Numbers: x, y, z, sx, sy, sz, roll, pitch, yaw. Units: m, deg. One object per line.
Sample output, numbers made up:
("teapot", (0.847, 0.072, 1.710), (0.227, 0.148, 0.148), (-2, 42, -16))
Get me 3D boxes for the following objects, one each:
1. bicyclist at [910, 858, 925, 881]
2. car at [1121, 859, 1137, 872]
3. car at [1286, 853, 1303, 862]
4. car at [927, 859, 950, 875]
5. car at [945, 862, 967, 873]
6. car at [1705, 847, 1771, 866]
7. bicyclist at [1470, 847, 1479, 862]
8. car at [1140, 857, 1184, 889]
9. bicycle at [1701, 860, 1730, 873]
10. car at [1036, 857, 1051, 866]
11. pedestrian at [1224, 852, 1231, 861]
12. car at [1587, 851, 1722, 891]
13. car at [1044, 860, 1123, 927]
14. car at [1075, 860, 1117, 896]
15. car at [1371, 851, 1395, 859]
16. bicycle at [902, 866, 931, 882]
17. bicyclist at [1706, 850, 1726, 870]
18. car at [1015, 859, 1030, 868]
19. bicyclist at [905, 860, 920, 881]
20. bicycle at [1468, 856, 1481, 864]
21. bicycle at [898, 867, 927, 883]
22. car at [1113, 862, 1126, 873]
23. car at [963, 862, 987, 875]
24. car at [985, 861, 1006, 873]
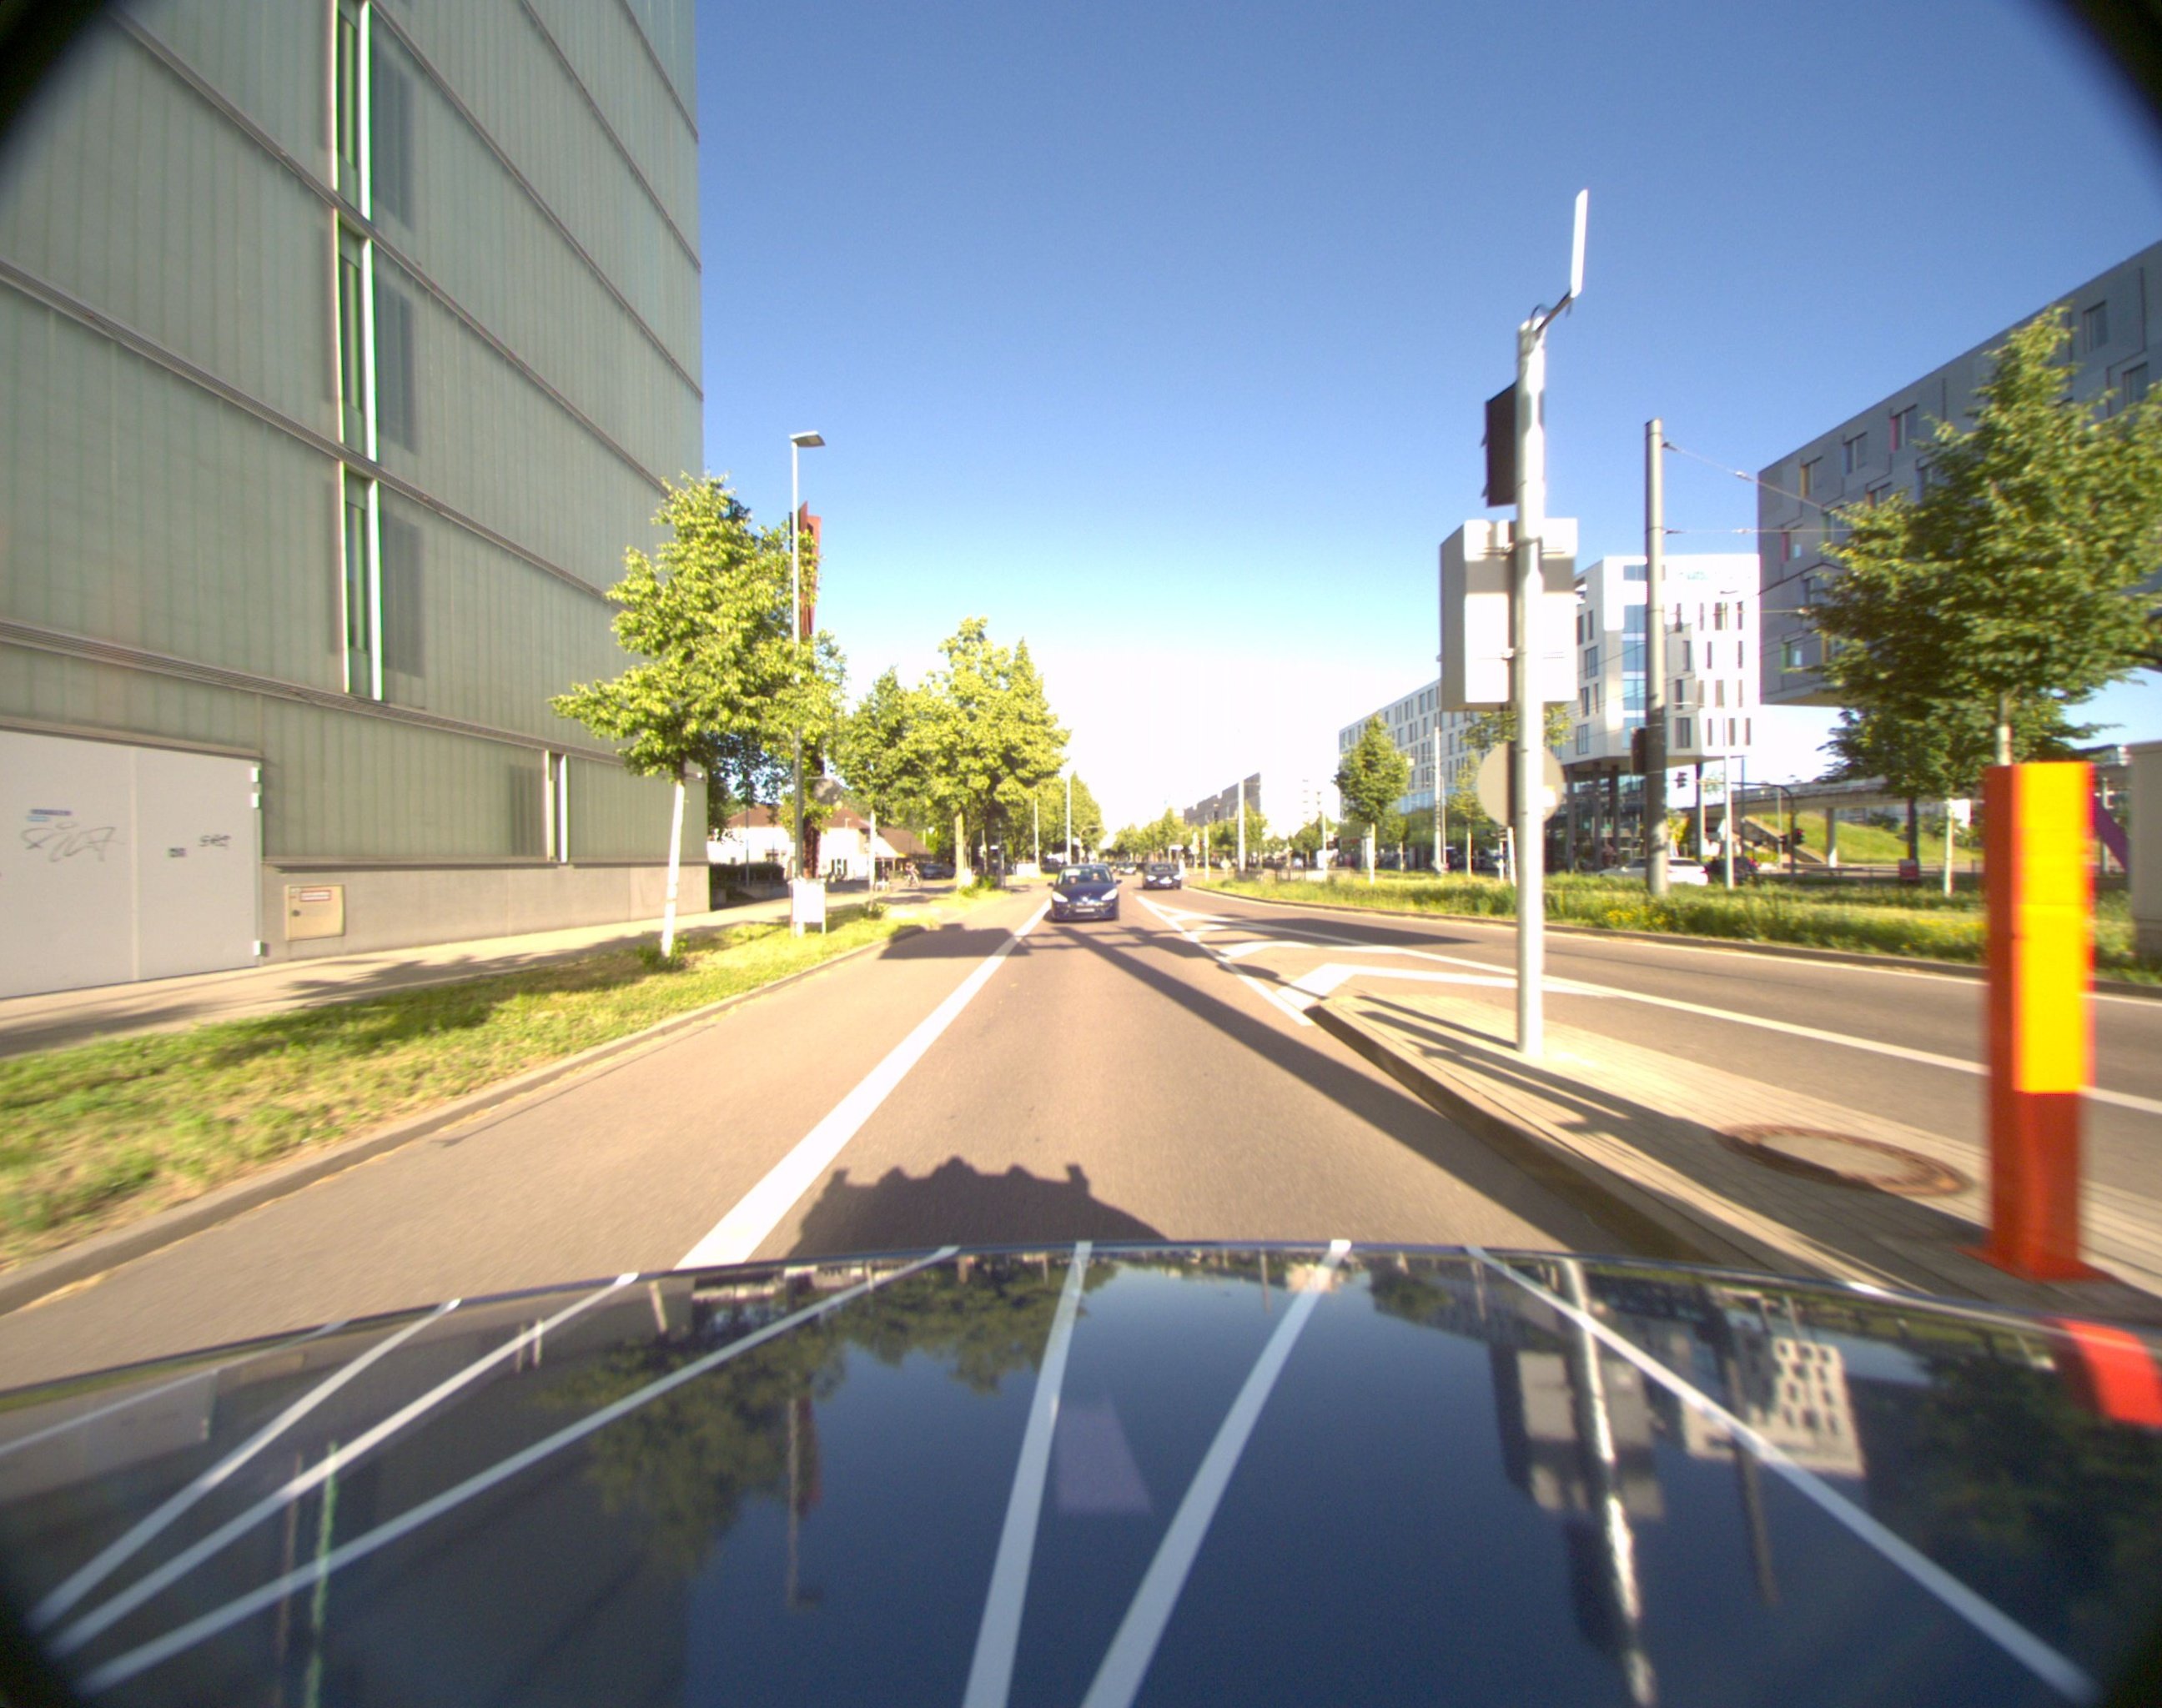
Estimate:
("bicyclist", (-12.640, 1.200, 58.711), (0.876, 1.727, 0.833), (-1, 0, 13))
("car", (5.739, 1.306, 90.971), (1.675, 1.418, 4.006), (-3, 0, 2))
("car", (37.740, 0.628, 134.244), (1.803, 1.518, 4.343), (-3, 0, 0))
("car", (-19.120, 1.688, 102.149), (1.898, 2.025, 5.071), (0, 0, 3))
("car", (-18.416, 1.928, 111.984), (1.898, 1.477, 4.916), (-2, 0, 6))
("car", (57.198, 0.244, 66.198), (3.996, 1.556, 2.001), (-1, 0, 4))
("bicyclist", (43.619, 0.070, 84.284), (0.531, 1.716, 0.837), (-1, 0, 2))
("car", (4.256, 0.972, 40.499), (1.803, 1.518, 4.343), (-3, 0, 0))
("bicycle", (43.916, 0.860, 52.612), (0.577, 0.857, 1.692), (-1, 0, 0))
("car", (-7.113, 1.447, 143.242), (1.997, 1.587, 4.657), (-2, 0, 7))
("pedestrian", (23.368, 0.363, 121.342), (1.068, 1.458, 0.844), (-2, 0, 6))
("car", (24.042, 0.674, 32.125), (1.999, 1.553, 4.871), (-1, 0, 0))
("car", (0.191, 0.997, 20.900), (1.802, 1.518, 4.606), (-3, 0, 4))
("car", (0.801, 1.110, 36.757), (1.802, 1.518, 4.606), (-3, 0, 3))
("car", (60.302, 0.210, 151.663), (3.998, 1.347, 1.876), (-3, 0, -3))
("bicycle", (-12.705, 1.560, 58.752), (2.100, 1.196, 0.552), (-1, 0, 13))
("bicyclist", (43.907, 0.413, 52.565), (0.572, 1.427, 0.958), (-1, 0, -1))
("car", (-9.200, 1.445, 120.091), (1.942, 1.372, 3.914), (-2, 0, 3))
("bicyclist", (-12.820, 1.249, 57.797), (0.876, 1.644, 0.794), (-1, 0, 13))
("bicycle", (43.620, 0.709, 84.184), (0.529, 0.857, 1.834), (-1, 0, 2))
("bicycle", (-12.840, 1.561, 57.820), (2.100, 1.196, 0.552), (-1, 0, 16))
("car", (5.908, 2.047, 116.798), (1.839, 1.483, 4.006), (-3, 0, 1))
("car", (-12.050, 1.637, 86.745), (1.898, 1.456, 4.038), (-2, 0, 4))
("car", (-11.300, 1.677, 100.555), (1.898, 1.479, 4.348), (-2, 0, 5))
